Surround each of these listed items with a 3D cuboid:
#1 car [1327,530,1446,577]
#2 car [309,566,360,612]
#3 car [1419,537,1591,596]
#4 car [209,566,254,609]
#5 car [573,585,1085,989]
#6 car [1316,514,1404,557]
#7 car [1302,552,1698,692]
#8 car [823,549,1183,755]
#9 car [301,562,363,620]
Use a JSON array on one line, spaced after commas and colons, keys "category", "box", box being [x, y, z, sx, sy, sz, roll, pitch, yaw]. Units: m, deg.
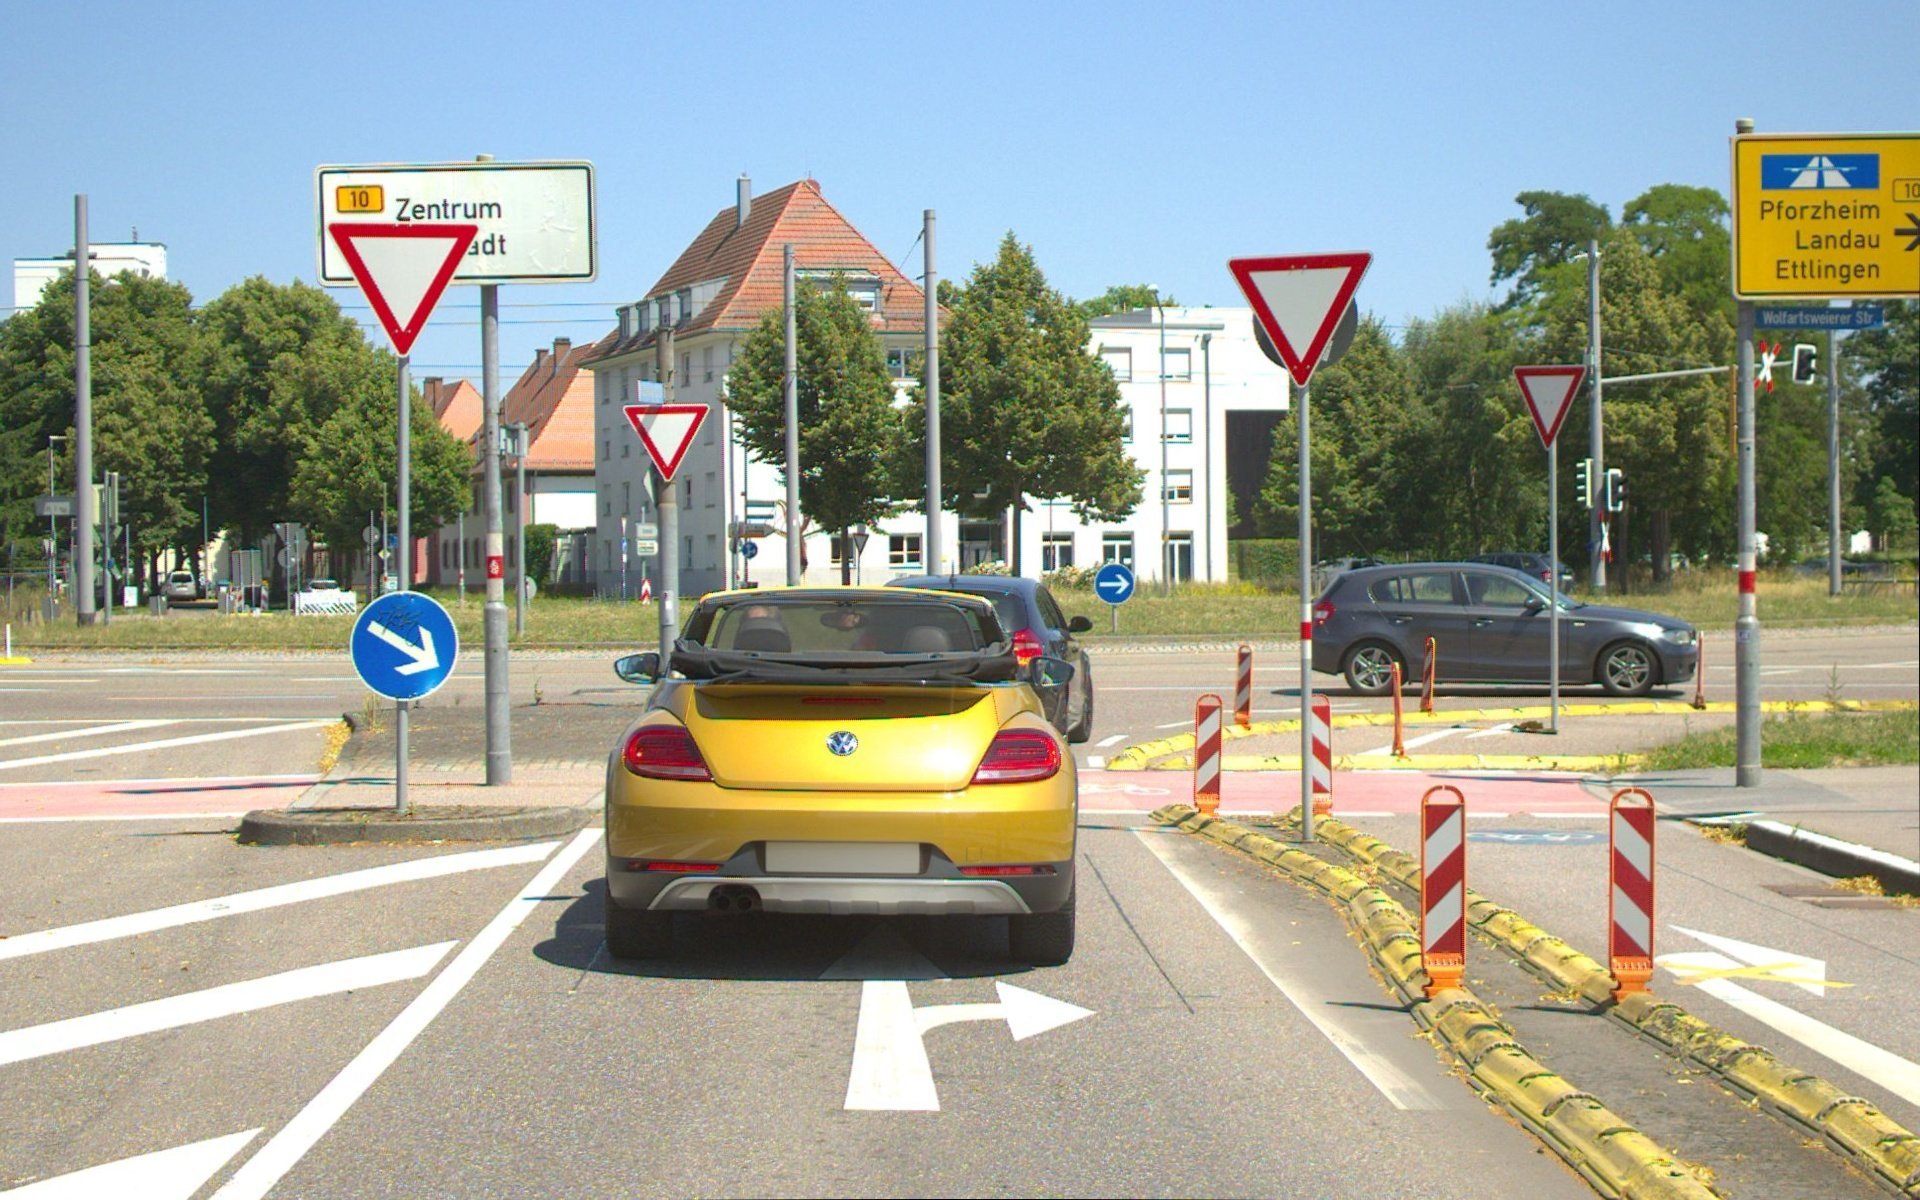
[{"category": "car", "box": [16.028, -1.741, 129.357, 3.986, 1.678, 2.001, 1, 0, -13]}, {"category": "car", "box": [-27.781, -0.486, 152.676, 1.993, 2.007, 4.001, 1, 0, -13]}, {"category": "car", "box": [14.184, -0.872, 89.508, 3.993, 1.459, 1.997, 1, 0, 26]}, {"category": "car", "box": [-34.761, -0.612, 163.942, 1.993, 2.007, 4.001, 1, 0, -13]}, {"category": "car", "box": [-0.490, 0.663, 14.142, 1.825, 1.398, 3.662, 0, 1, -1]}, {"category": "car", "box": [19.348, -3.094, 166.250, 3.990, 2.007, 1.999, 1, 0, 15]}, {"category": "car", "box": [5.786, 0.229, 36.769, 4.069, 1.398, 1.752, -1, 1, 11]}, {"category": "car", "box": [0.427, 0.346, 27.160, 1.798, 1.435, 3.997, 0, 2, 17]}, {"category": "car", "box": [-22.596, -0.328, 123.610, 1.993, 2.007, 4.001, 1, 0, -13]}]
